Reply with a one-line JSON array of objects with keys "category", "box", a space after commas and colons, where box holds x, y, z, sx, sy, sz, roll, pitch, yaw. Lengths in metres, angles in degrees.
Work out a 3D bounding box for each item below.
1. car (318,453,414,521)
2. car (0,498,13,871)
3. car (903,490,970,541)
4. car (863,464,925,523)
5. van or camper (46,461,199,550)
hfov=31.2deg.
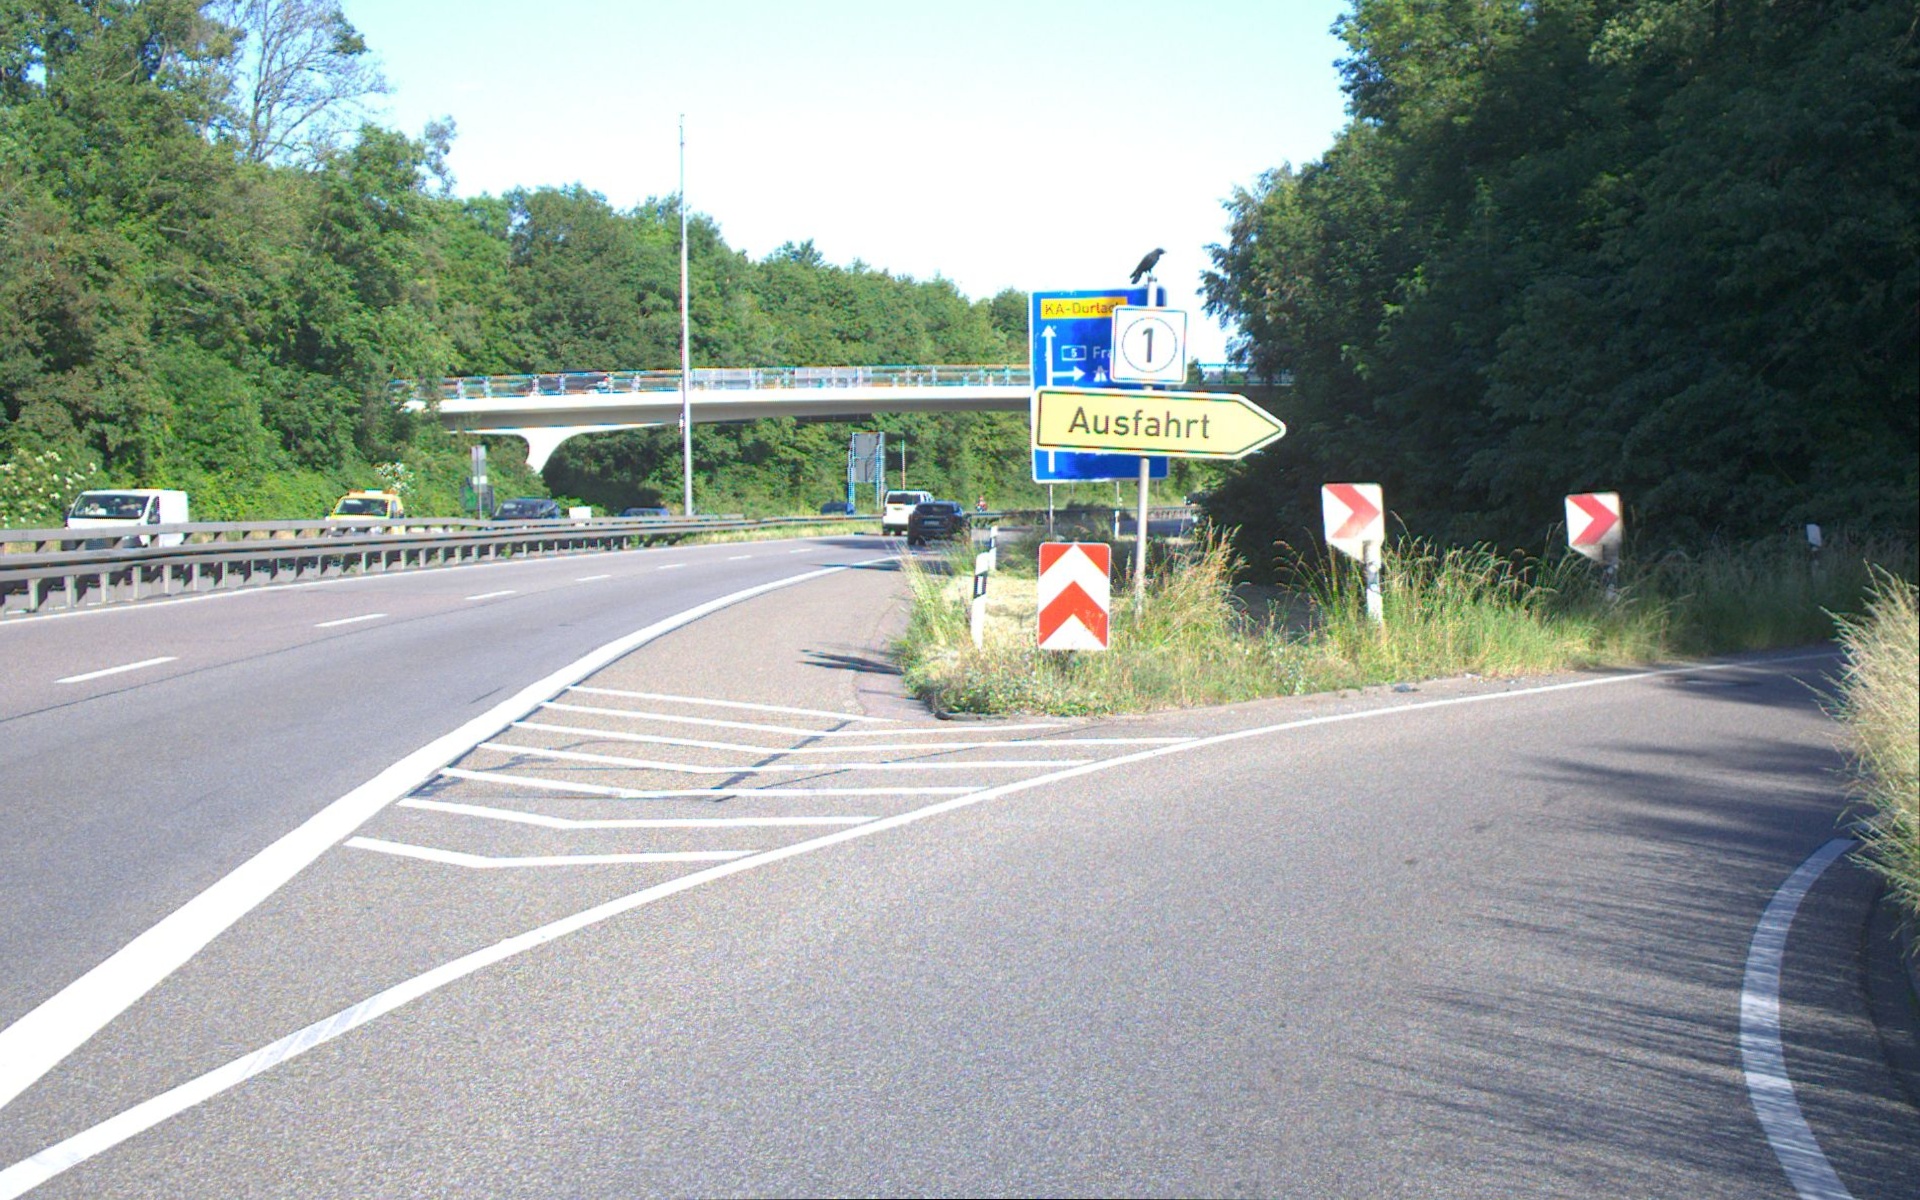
[{"category": "car", "box": [-17.780, -3.386, 103.069, 1.994, 2.006, 4.000, 0, 2, 3]}, {"category": "car", "box": [-4.733, 0.403, 11.157, 1.929, 1.502, 5.600, 1, 2, -2]}, {"category": "car", "box": [-0.779, -2.842, 115.018, 1.739, 1.656, 3.945, 0, 2, 7]}, {"category": "car", "box": [-2.553, -4.145, 134.089, 1.994, 2.269, 4.000, 0, 2, 5]}, {"category": "van or camper", "box": [-19.434, -2.208, 79.993, 2.074, 2.006, 4.818, 0, 2, 4]}]
